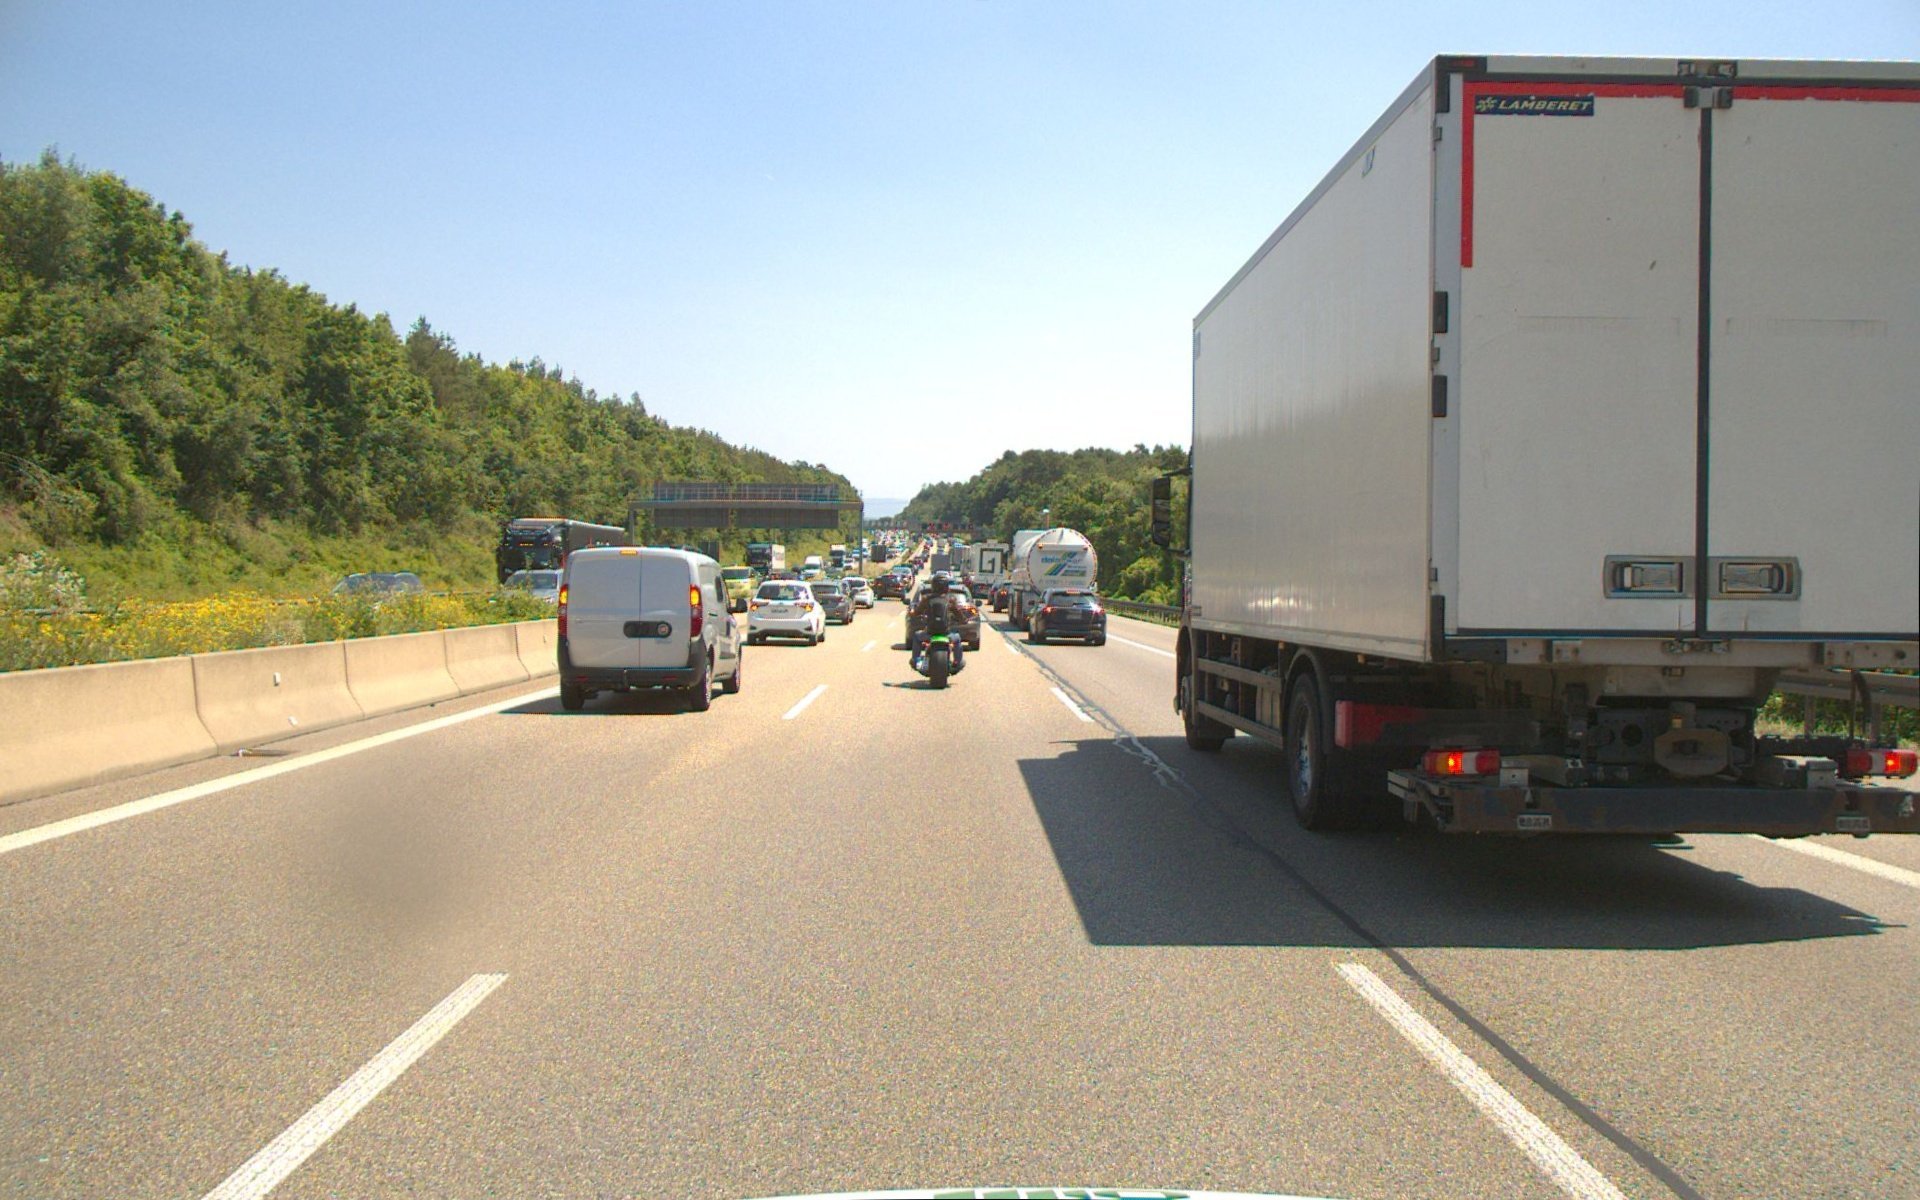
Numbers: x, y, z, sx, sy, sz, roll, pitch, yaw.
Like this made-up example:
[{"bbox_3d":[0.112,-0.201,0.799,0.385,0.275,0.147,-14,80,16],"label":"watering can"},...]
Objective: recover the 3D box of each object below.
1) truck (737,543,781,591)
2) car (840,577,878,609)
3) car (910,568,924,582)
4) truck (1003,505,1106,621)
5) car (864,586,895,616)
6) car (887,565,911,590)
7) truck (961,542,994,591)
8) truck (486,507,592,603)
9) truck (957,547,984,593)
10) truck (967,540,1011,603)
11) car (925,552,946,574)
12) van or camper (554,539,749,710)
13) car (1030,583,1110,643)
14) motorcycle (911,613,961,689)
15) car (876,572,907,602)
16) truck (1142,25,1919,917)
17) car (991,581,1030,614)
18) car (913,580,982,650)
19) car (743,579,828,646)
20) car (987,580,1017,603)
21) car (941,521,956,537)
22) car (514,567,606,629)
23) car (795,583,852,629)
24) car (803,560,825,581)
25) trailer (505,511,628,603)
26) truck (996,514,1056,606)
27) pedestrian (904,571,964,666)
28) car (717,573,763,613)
[{"bbox_3d":[-20.364,-3.346,168.236,3.649,4.607,7.324,-2,0,-1],"label":"truck"},{"bbox_3d":[-4.964,-0.365,81.337,1.665,1.504,4.000,0,1,-1],"label":"car"},{"bbox_3d":[-6.252,-3.594,239.380,1.953,2.049,4.000,1,1,-1],"label":"car"},{"bbox_3d":[3.221,-1.199,58.790,2.927,3.735,9.286,-2,0,-1],"label":"truck"},{"bbox_3d":[-5.695,0.079,117.630,1.953,2.049,4.000,-2,0,0],"label":"car"},{"bbox_3d":[-5.423,-1.998,147.363,1.890,2.049,4.000,-2,0,0],"label":"car"},{"bbox_3d":[1.687,-3.325,164.647,2.971,4.621,9.981,1,1,-1],"label":"truck"},{"bbox_3d":[-19.172,-1.956,75.749,2.847,4.043,7.767,-2,0,-1],"label":"truck"},{"bbox_3d":[1.191,-3.494,194.740,2.971,5.229,9.981,1,1,-1],"label":"truck"},{"bbox_3d":[2.189,-2.193,127.416,2.971,4.621,9.981,1,1,-1],"label":"truck"},{"bbox_3d":[-2.979,-4.571,202.620,2.453,2.632,5.016,0,1,-1],"label":"car"},{"bbox_3d":[-3.764,0.287,20.830,1.760,1.925,4.158,1,0,-2],"label":"van or camper"},{"bbox_3d":[2.892,0.312,44.178,1.791,1.496,4.000,1,1,-1],"label":"car"},{"bbox_3d":[-0.339,0.738,24.716,0.677,1.033,2.121,1,0,0],"label":"motorcycle"},{"bbox_3d":[-4.428,-0.844,107.060,1.841,1.892,4.000,1,1,0],"label":"car"},{"bbox_3d":[3.409,-0.624,12.370,2.634,3.943,9.777,-2,0,-2],"label":"truck"},{"bbox_3d":[2.510,-0.139,82.717,1.751,1.583,3.803,0,1,-1],"label":"car"},{"bbox_3d":[-0.333,0.319,39.100,1.502,1.536,3.999,-2,0,-1],"label":"car"},{"bbox_3d":[-4.165,0.261,39.894,1.665,1.504,4.000,0,1,-1],"label":"car"},{"bbox_3d":[2.618,-0.540,104.438,1.751,1.398,3.803,0,1,-1],"label":"car"},{"bbox_3d":[-1.626,-9.806,228.993,1.953,2.049,3.999,-2,0,-1],"label":"car"},{"bbox_3d":[-10.659,-0.073,44.305,1.531,1.545,3.999,-1,1,-1],"label":"car"},{"bbox_3d":[-4.669,0.166,56.858,1.665,1.504,4.000,0,1,-1],"label":"car"},{"bbox_3d":[-16.632,-3.343,189.230,1.953,2.418,7.364,0,1,-1],"label":"car"},{"bbox_3d":[-19.247,-1.942,81.902,2.847,4.043,13.885,-2,0,-1],"label":"trailer"},{"bbox_3d":[2.670,-1.583,67.781,1.954,3.584,4.748,-2,0,-3],"label":"truck"},{"bbox_3d":[-0.382,0.270,24.937,0.832,1.385,0.961,-2,0,0],"label":"pedestrian"},{"bbox_3d":[-11.990,-0.381,90.208,1.841,2.049,4.468,-3,0,0],"label":"car"}]
